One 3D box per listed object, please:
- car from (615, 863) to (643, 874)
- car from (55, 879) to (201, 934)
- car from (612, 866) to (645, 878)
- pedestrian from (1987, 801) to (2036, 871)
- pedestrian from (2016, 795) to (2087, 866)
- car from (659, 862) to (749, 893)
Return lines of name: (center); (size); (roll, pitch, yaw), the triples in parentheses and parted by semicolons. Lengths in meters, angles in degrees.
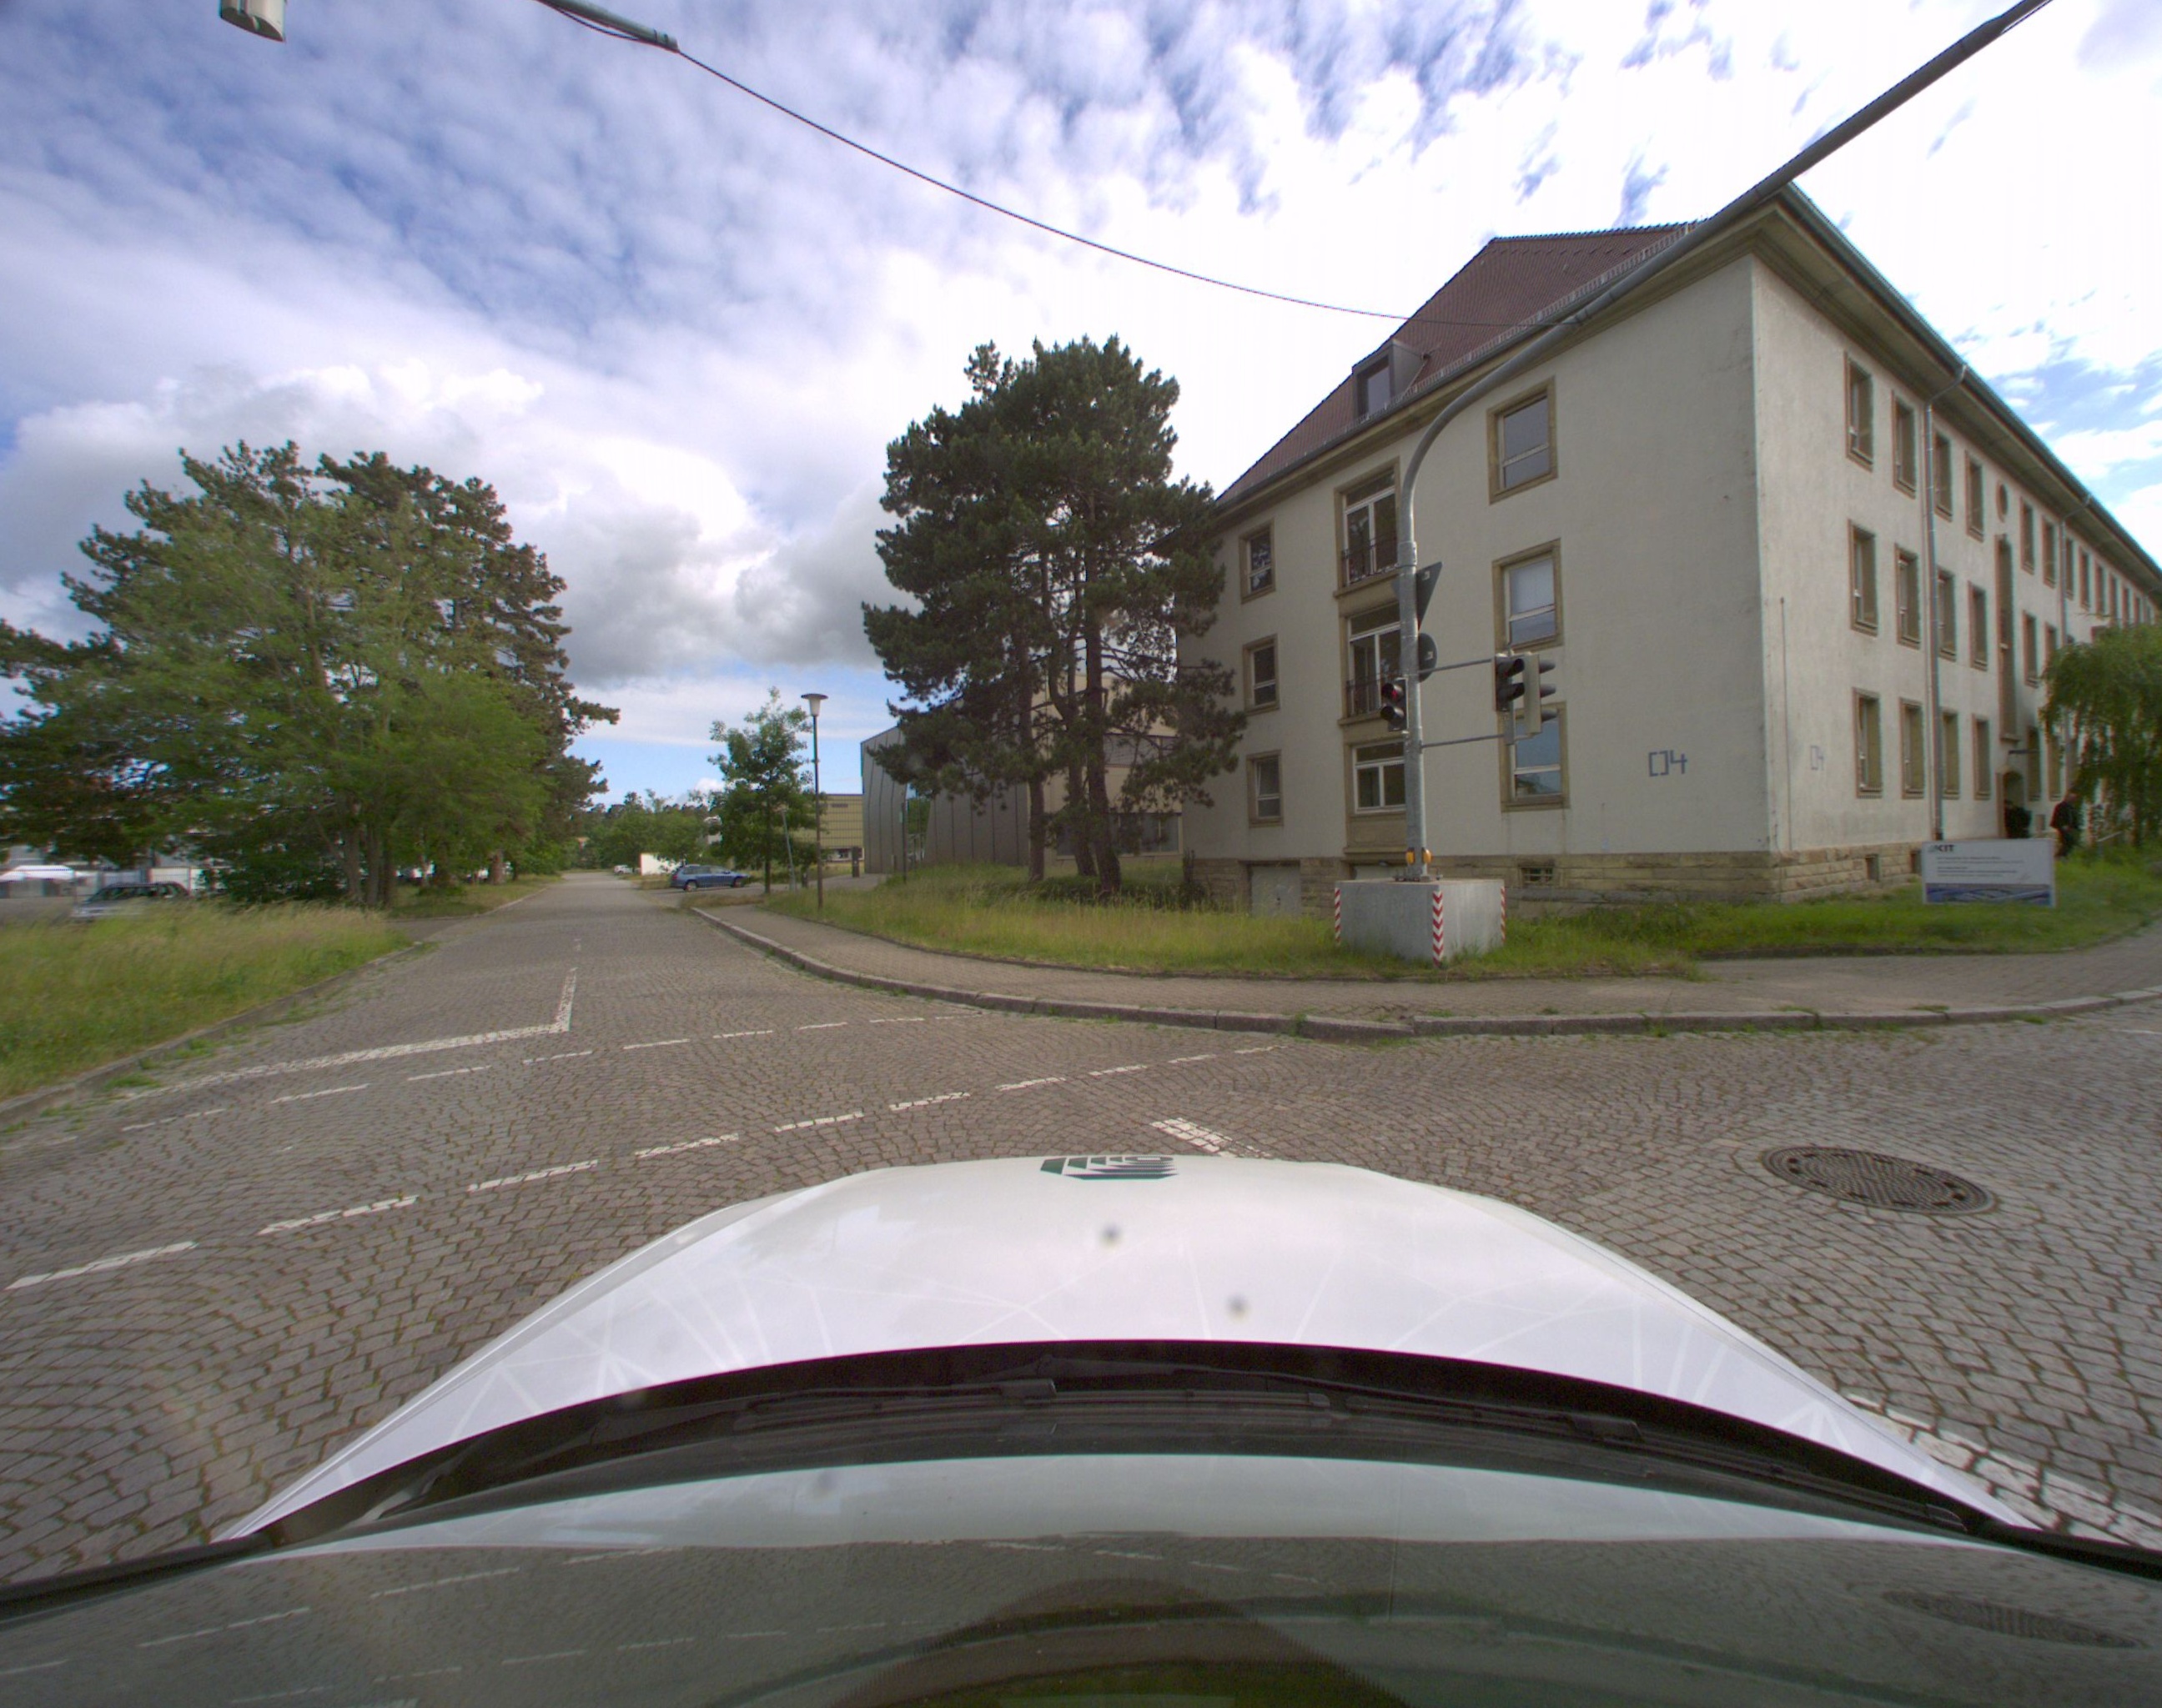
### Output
car: (-80.846, 2.638, 145.698); (4.382, 1.780, 1.907); (-2, 0, -30)
car: (-30.539, 1.611, 26.274); (1.933, 1.477, 4.323); (-2, 0, -34)
car: (-70.865, 2.754, 127.428); (4.385, 1.687, 1.906); (-2, 0, -32)
pedestrian: (26.354, -0.518, 23.081); (0.842, 1.931, 0.857); (-2, 2, -43)
pedestrian: (26.450, -0.639, 22.199); (1.557, 1.869, 1.185); (-2, 1, -38)
car: (-22.413, 1.364, 48.484); (4.552, 1.531, 1.979); (-4, 1, -35)
